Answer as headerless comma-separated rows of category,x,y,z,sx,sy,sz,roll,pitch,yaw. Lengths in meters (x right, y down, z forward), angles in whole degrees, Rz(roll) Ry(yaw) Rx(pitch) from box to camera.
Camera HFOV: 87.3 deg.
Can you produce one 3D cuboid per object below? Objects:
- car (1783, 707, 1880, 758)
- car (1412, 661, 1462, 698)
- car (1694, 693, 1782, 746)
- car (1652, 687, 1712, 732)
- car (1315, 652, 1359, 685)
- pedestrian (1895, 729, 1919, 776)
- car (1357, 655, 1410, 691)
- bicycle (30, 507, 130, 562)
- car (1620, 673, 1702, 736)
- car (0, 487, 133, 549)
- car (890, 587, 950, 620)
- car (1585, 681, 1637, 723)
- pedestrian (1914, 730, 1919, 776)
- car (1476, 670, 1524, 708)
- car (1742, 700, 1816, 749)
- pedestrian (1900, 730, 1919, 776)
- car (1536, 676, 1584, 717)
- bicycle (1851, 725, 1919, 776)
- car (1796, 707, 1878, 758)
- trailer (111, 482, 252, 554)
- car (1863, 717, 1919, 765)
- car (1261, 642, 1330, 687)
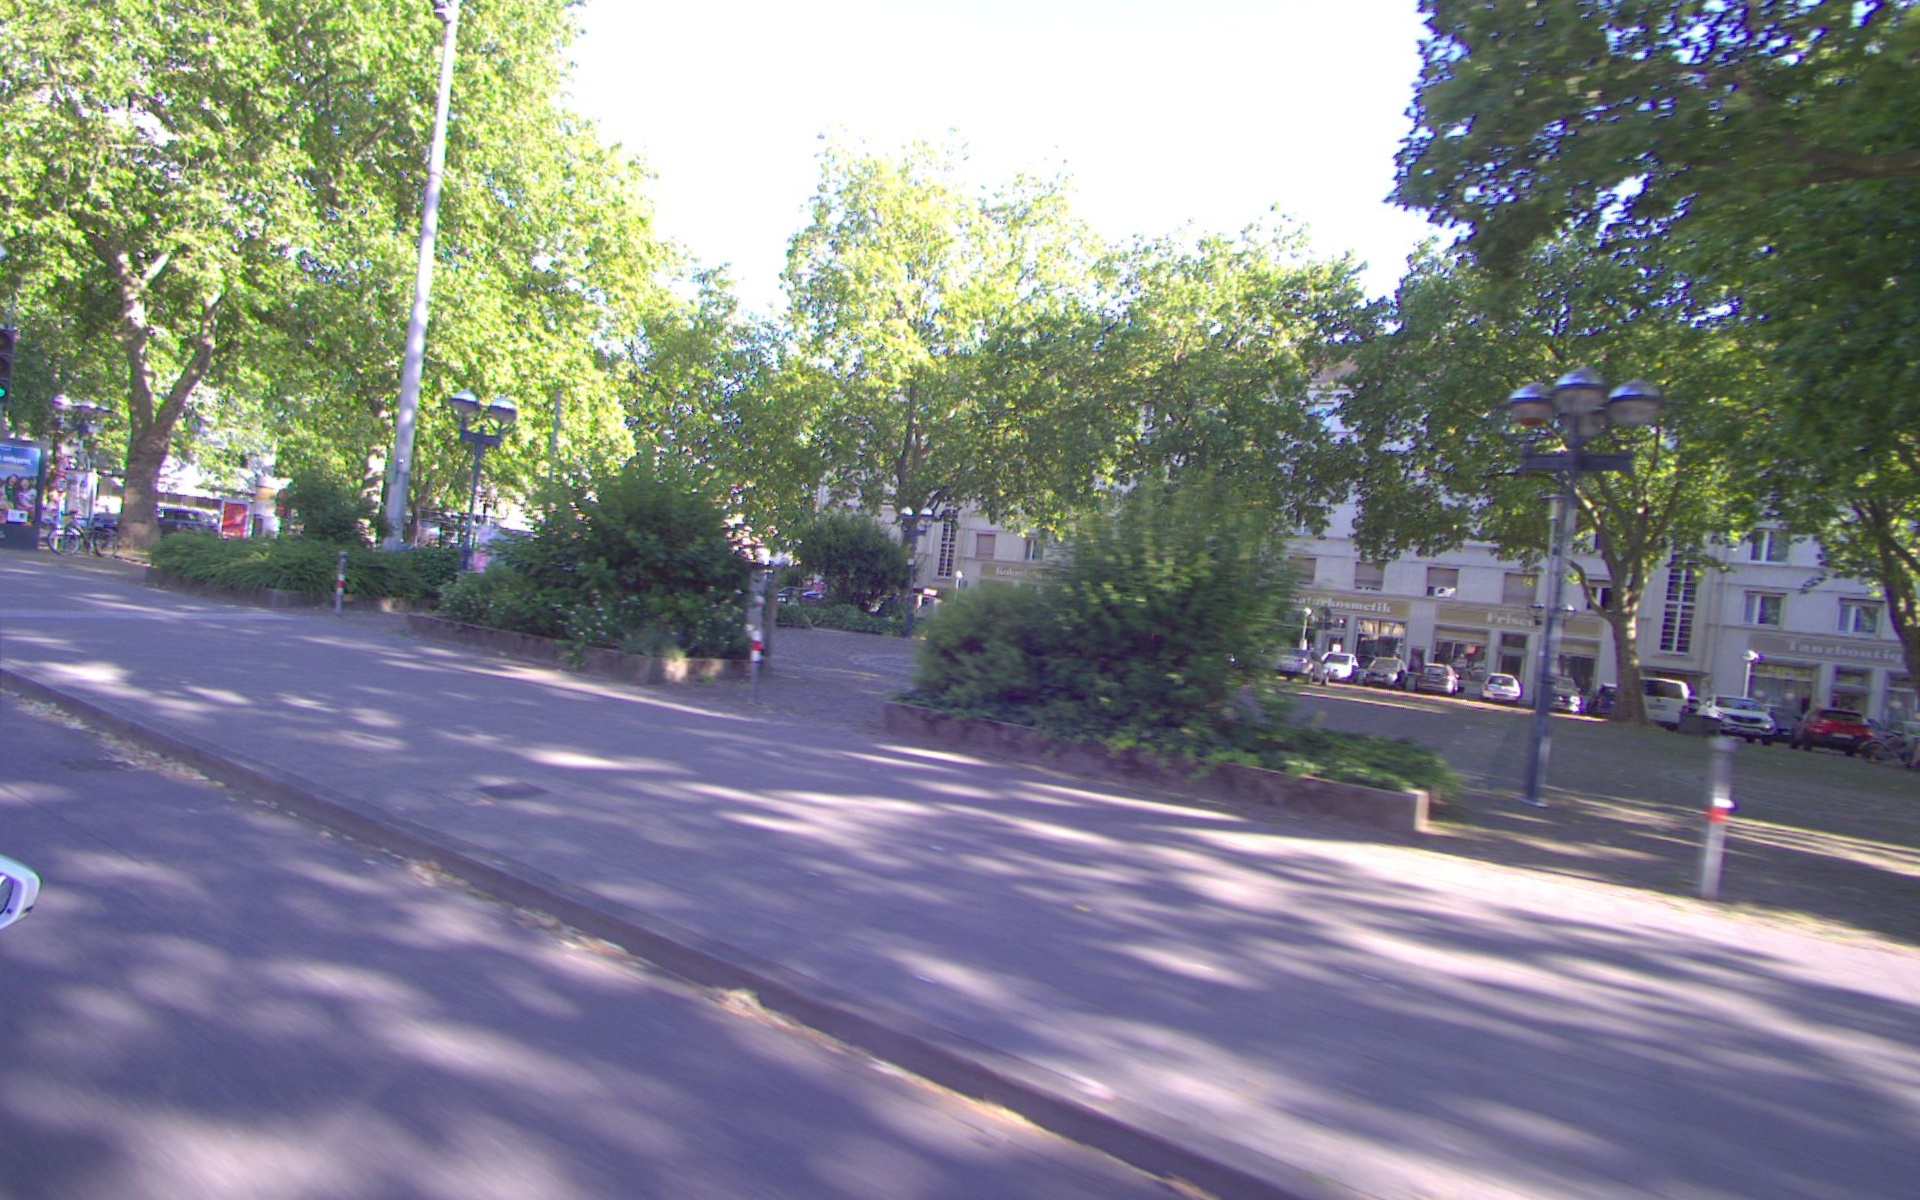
car,30.067,4.559,34.841,1.749,1.424,3.995,6,-2,31
car,24.089,3.971,50.732,1.750,1.499,4.340,6,1,31
car,27.909,4.295,36.224,1.890,1.539,3.995,6,-2,31
car,32.935,4.970,46.007,1.750,1.541,4.340,6,1,31
car,19.898,3.559,53.039,1.385,1.500,3.564,6,1,31
pedestrian,26.592,4.258,27.965,0.530,1.240,0.632,7,-1,14
car,21.844,3.721,51.801,1.750,1.499,4.340,6,1,31
bicycle,-20.730,-1.518,23.750,0.525,1.066,1.826,7,-1,5
car,25.891,3.868,37.279,2.014,1.938,3.995,6,-2,31
car,-34.174,-3.099,37.772,1.899,1.658,4.586,7,-2,9
car,-2.584,0.233,66.597,1.733,1.895,4.340,6,1,31
car,30.740,4.766,47.586,1.750,1.541,4.340,6,1,31
pedestrian,26.448,4.211,27.264,0.530,1.240,0.632,7,-1,14
car,26.694,4.347,49.665,1.750,1.499,4.340,6,1,31
car,35.418,5.350,43.625,1.750,1.541,4.340,6,1,31
pedestrian,27.351,4.384,28.616,0.530,1.240,0.632,7,-1,6
car,28.597,4.547,47.971,1.750,1.499,4.340,6,1,31
bicycle,27.267,4.410,29.543,1.534,1.240,0.629,6,-2,39
car,36.922,5.522,42.454,1.750,1.541,4.340,6,1,31
trailer,-33.253,-3.440,43.150,1.877,2.402,4.518,7,0,9
car,32.110,4.789,33.800,1.749,1.424,3.995,6,-2,31
car,14.620,2.829,43.711,1.890,1.539,3.995,6,-2,31
